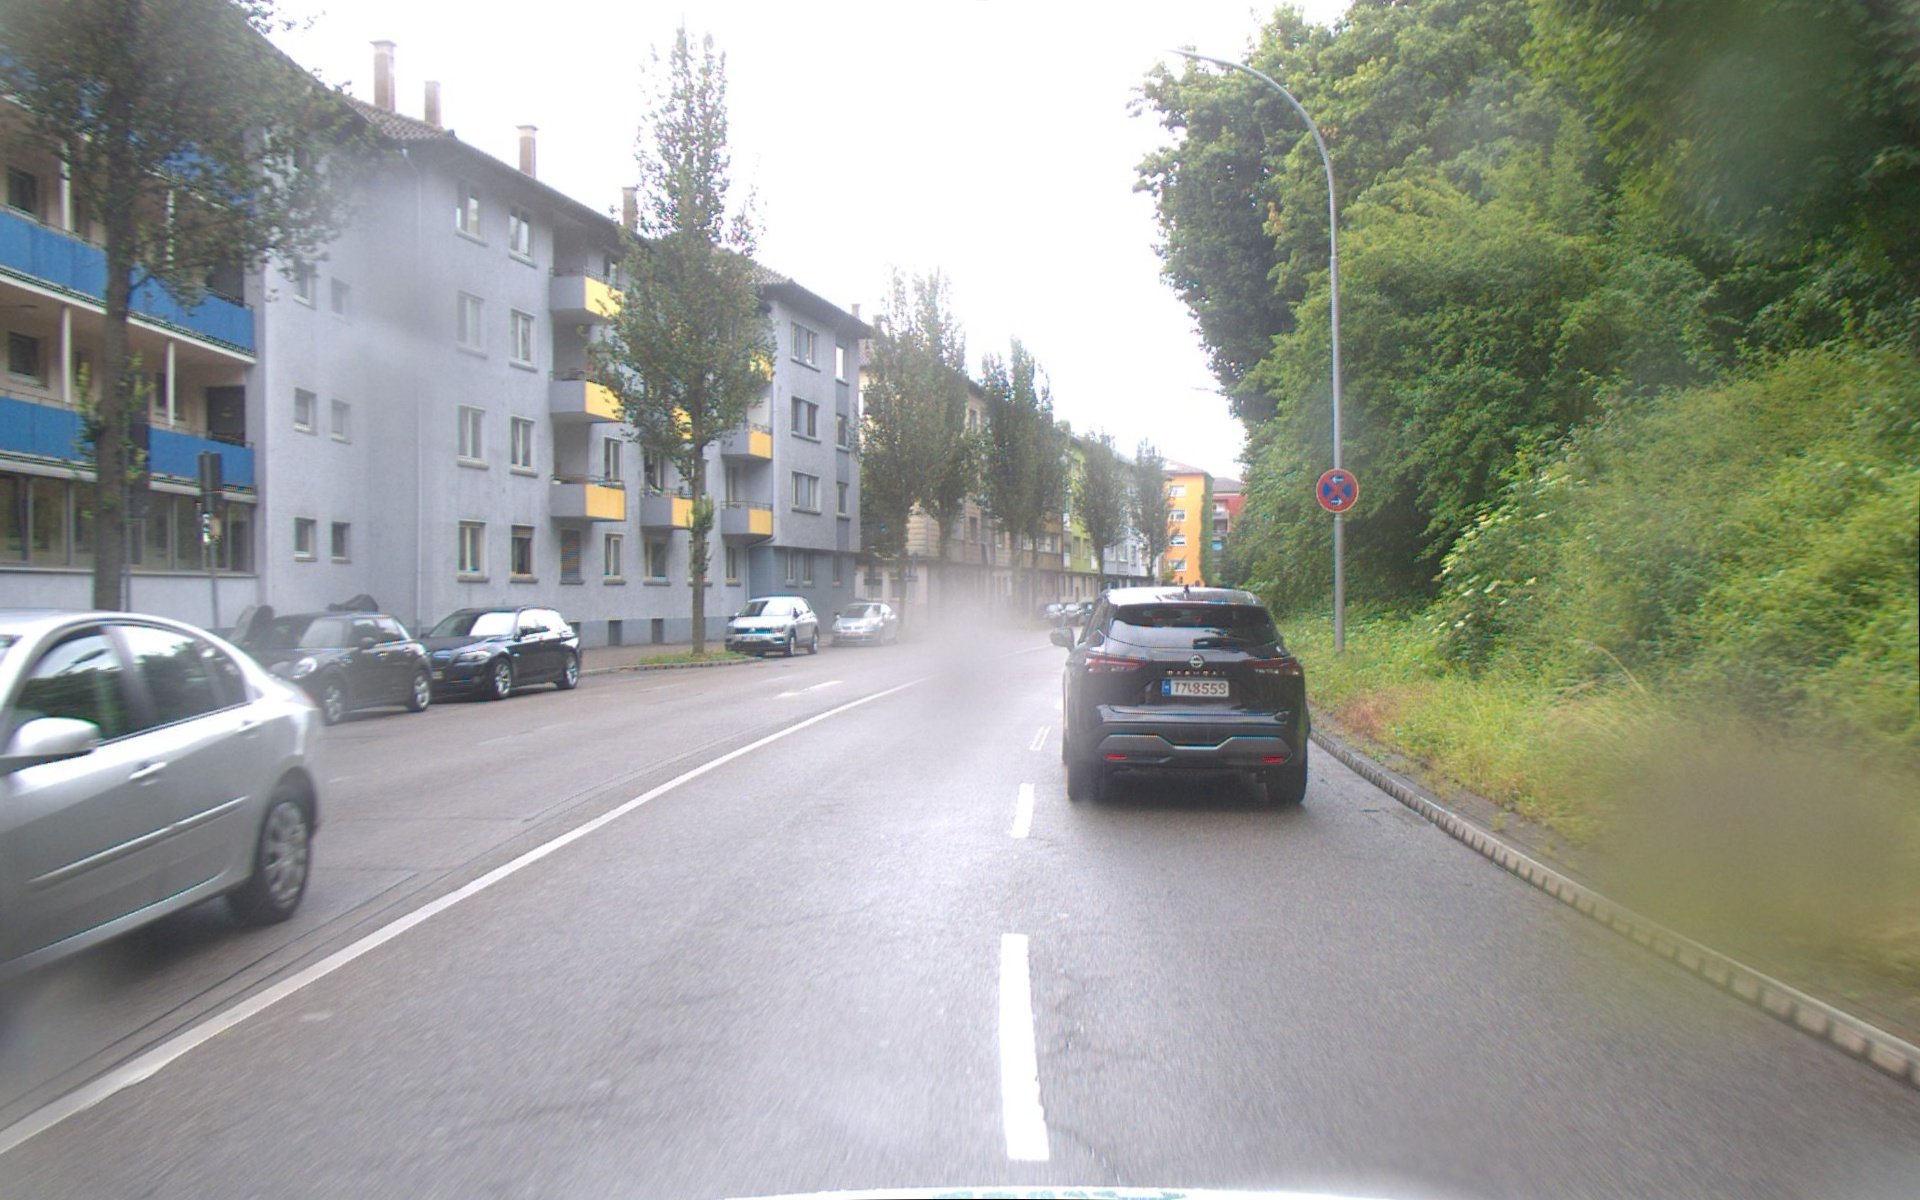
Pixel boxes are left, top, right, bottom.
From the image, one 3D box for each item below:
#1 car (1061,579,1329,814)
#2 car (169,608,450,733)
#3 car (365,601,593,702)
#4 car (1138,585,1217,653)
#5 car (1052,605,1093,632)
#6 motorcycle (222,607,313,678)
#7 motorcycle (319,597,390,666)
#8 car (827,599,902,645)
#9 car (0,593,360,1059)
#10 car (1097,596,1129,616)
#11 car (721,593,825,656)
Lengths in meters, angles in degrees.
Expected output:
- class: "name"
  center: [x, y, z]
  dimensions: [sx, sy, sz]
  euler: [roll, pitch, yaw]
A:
- class: "car"
  center: [1.762, 0.656, 13.571]
  dimensions: [1.806, 1.610, 4.002]
  euler: [1, 0, 3]
- class: "car"
  center: [-8.577, 0.871, 22.209]
  dimensions: [1.742, 1.427, 4.091]
  euler: [-2, 0, 7]
- class: "car"
  center: [-7.855, 0.801, 27.555]
  dimensions: [1.782, 1.465, 4.896]
  euler: [-2, -1, 7]
- class: "car"
  center: [5.812, 0.484, 44.556]
  dimensions: [1.847, 1.741, 4.002]
  euler: [0, 0, 3]
- class: "car"
  center: [6.966, 1.112, 102.075]
  dimensions: [1.778, 1.515, 4.794]
  euler: [-2, 0, 12]
- class: "motorcycle"
  center: [-13.128, 0.782, 31.433]
  dimensions: [0.661, 1.276, 2.237]
  euler: [2, 0, 3]
- class: "motorcycle"
  center: [-13.135, 0.659, 35.954]
  dimensions: [0.661, 1.438, 2.236]
  euler: [2, 0, 0]
- class: "car"
  center: [-3.228, 0.729, 56.548]
  dimensions: [1.687, 1.478, 4.209]
  euler: [-1, 0, 9]
- class: "car"
  center: [-3.868, 0.710, 6.101]
  dimensions: [1.717, 1.450, 4.536]
  euler: [-1, 0, -1]
- class: "car"
  center: [11.325, 0.429, 122.344]
  dimensions: [1.778, 1.396, 4.684]
  euler: [-2, 0, 12]
- class: "car"
  center: [-5.119, 0.635, 45.793]
  dimensions: [1.726, 1.632, 4.537]
  euler: [-1, 0, 8]
